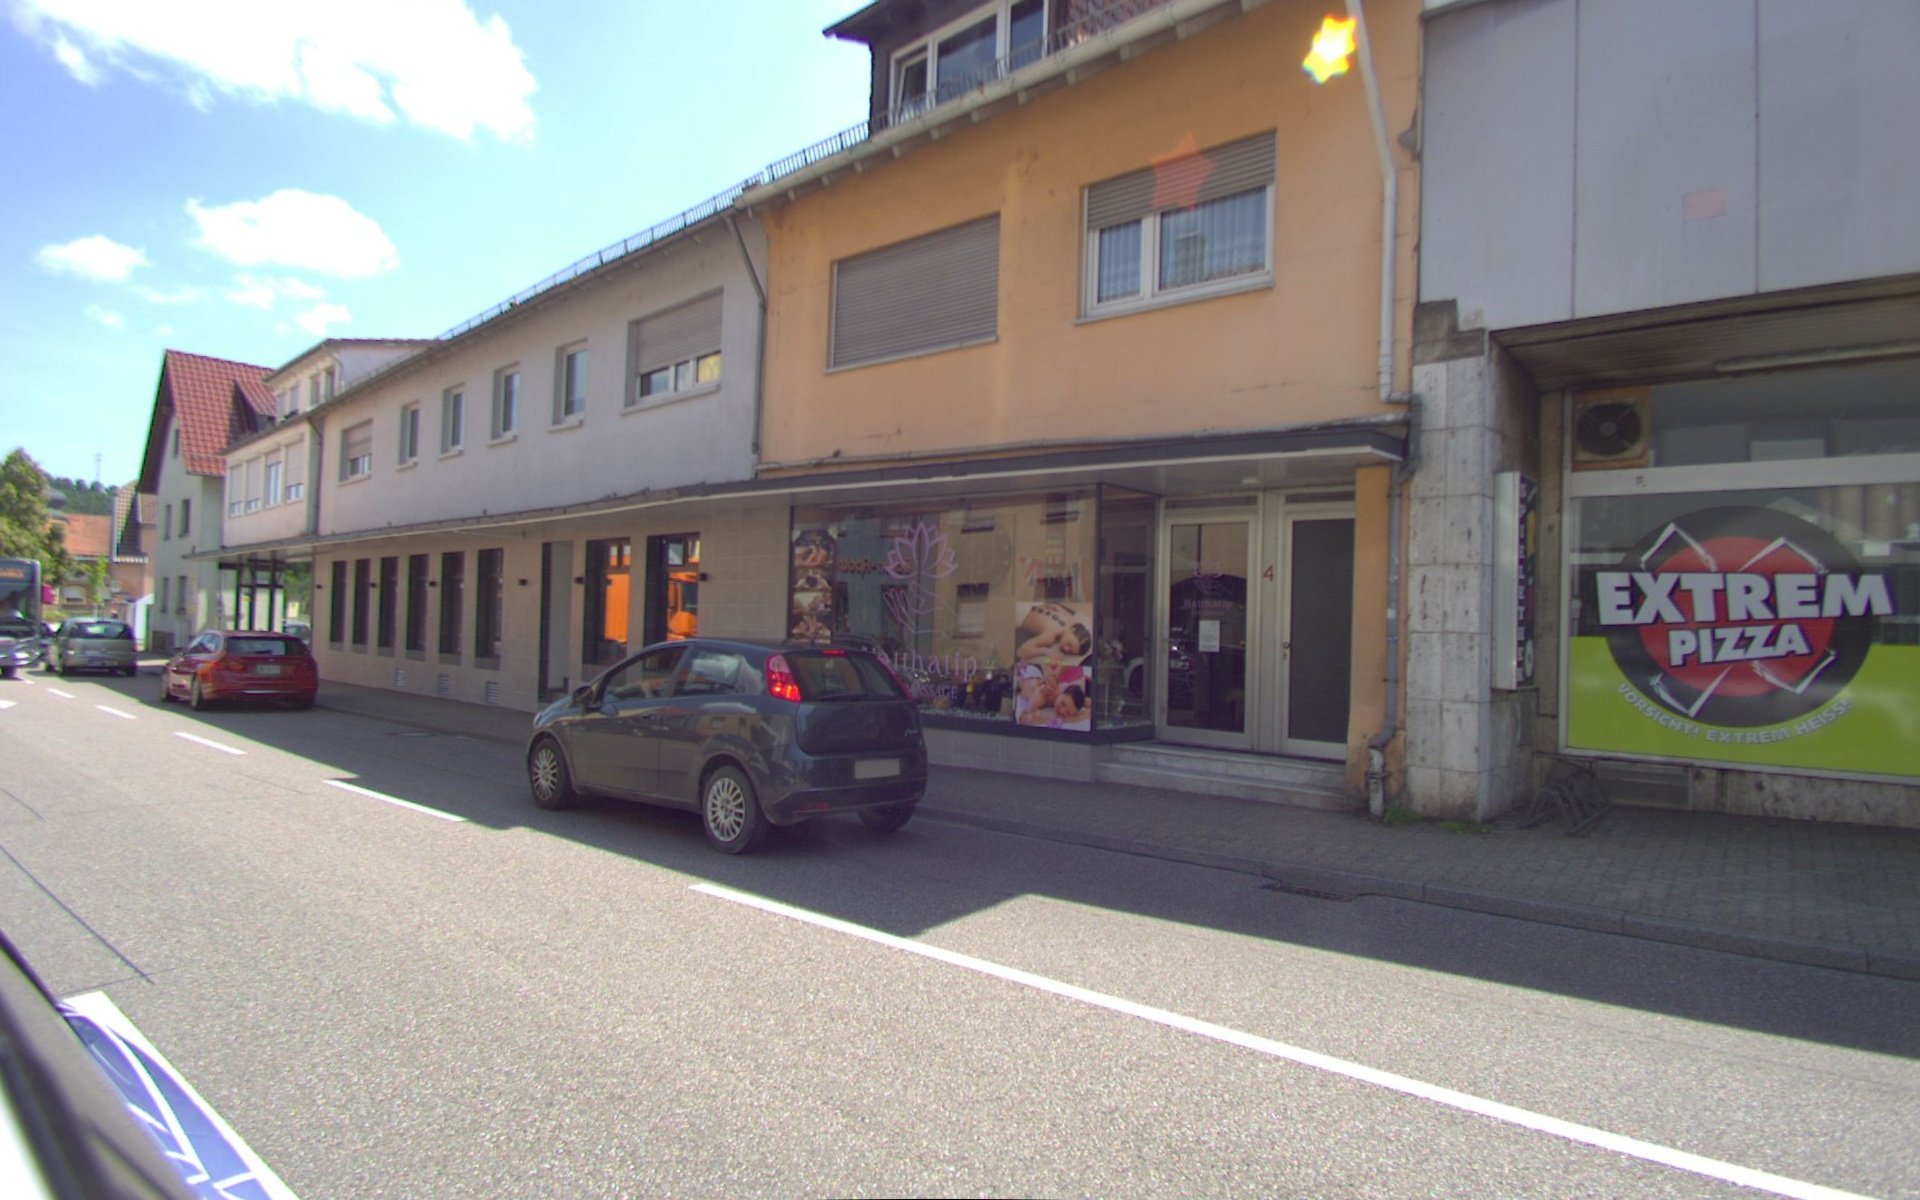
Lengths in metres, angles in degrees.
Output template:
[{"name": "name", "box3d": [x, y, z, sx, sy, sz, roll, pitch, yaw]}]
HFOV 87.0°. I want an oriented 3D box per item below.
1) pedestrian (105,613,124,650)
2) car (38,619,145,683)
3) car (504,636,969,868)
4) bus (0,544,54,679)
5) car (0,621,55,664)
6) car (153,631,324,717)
[{"name": "pedestrian", "box3d": [-41.174, 1.549, 49.281, 0.475, 1.777, 0.468, 1, -2, 20]}, {"name": "car", "box3d": [-24.696, 1.450, 28.731, 3.819, 1.629, 1.661, -2, -7, 41]}, {"name": "car", "box3d": [-1.934, 1.050, 8.198, 3.817, 1.434, 1.700, -2, -5, 40]}, {"name": "bus", "box3d": [-30.604, 0.436, 29.659, 19.007, 3.229, 2.824, -1, -2, 38]}, {"name": "car", "box3d": [-34.149, 1.522, 36.662, 3.447, 1.466, 1.579, -1, -5, 42]}, {"name": "car", "box3d": [-13.505, 1.344, 18.842, 4.284, 1.419, 1.698, -2, -6, 43]}]
